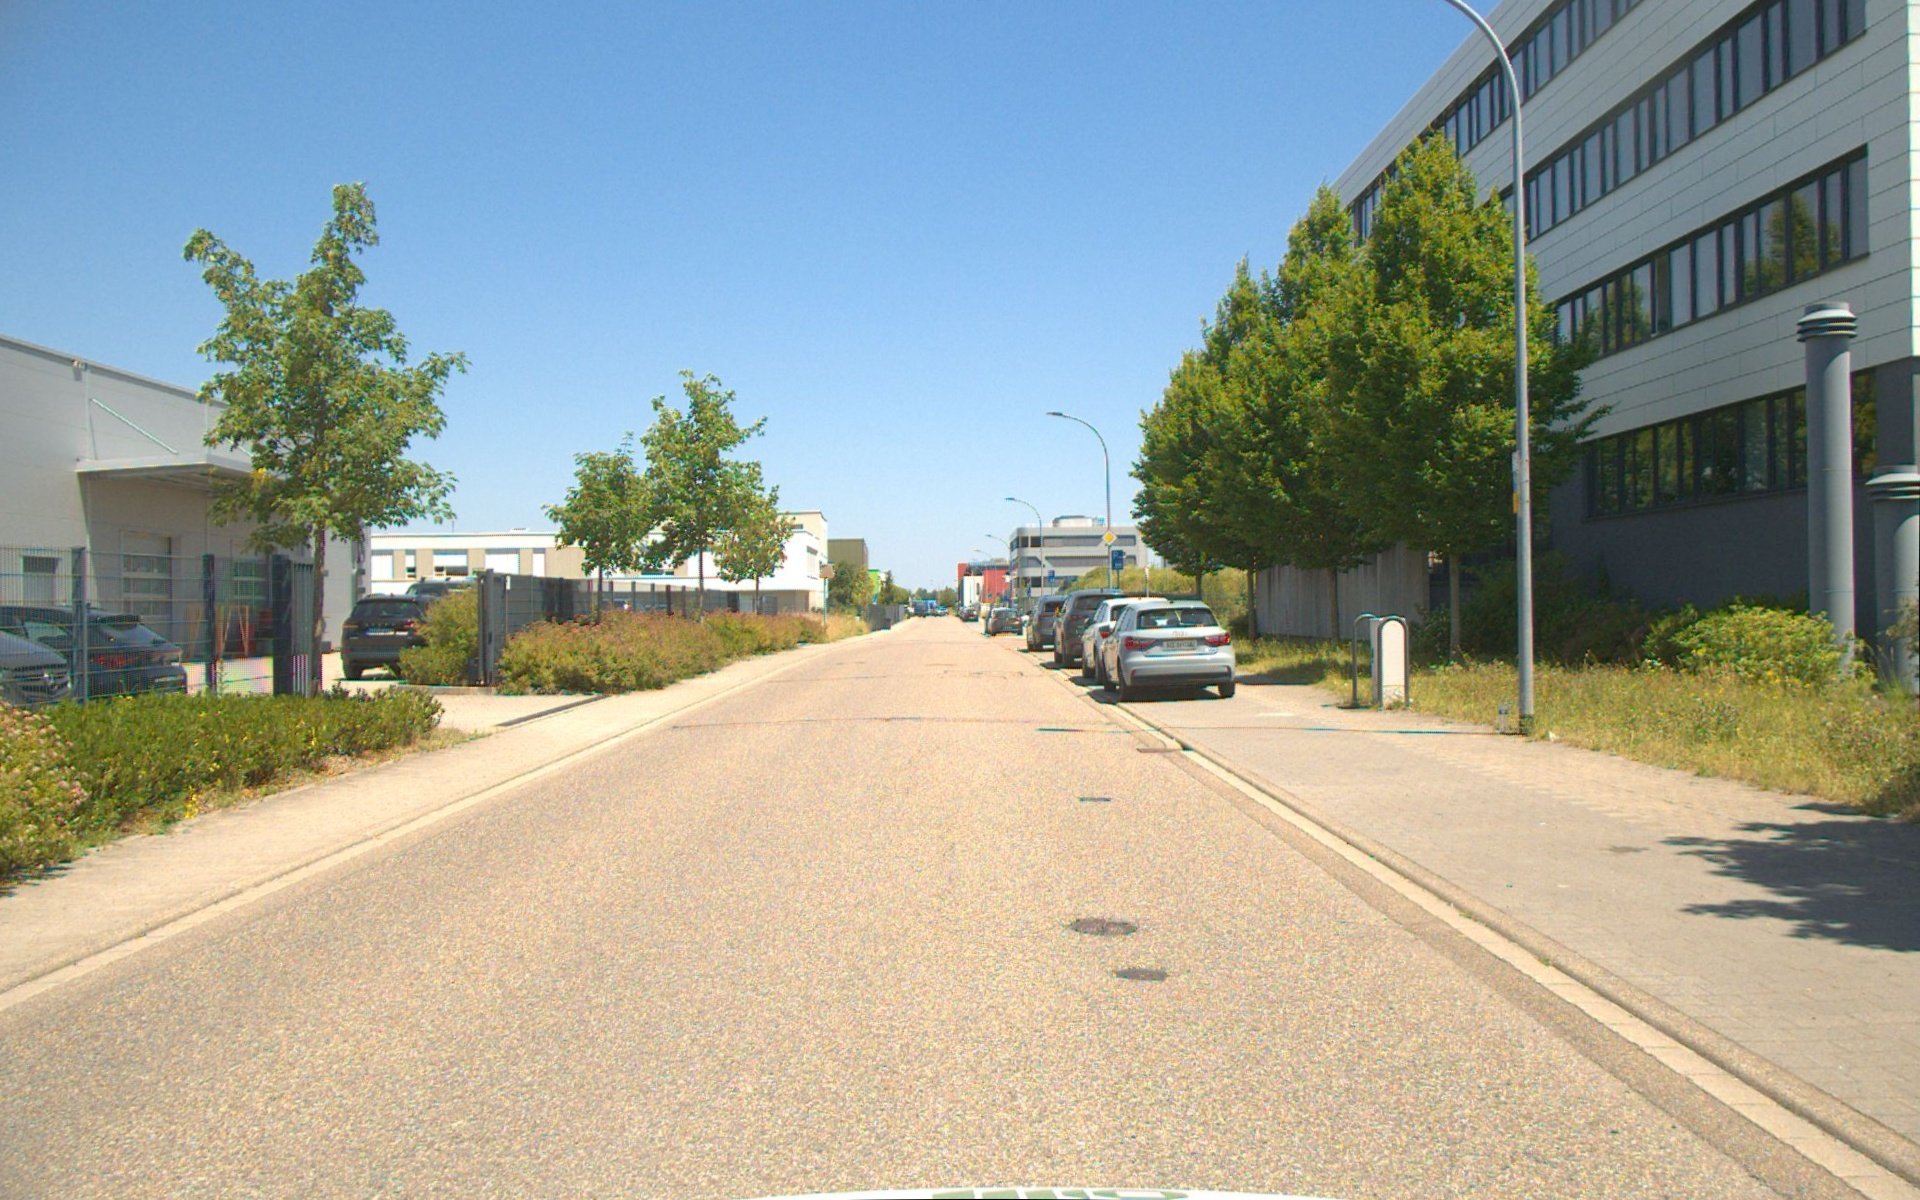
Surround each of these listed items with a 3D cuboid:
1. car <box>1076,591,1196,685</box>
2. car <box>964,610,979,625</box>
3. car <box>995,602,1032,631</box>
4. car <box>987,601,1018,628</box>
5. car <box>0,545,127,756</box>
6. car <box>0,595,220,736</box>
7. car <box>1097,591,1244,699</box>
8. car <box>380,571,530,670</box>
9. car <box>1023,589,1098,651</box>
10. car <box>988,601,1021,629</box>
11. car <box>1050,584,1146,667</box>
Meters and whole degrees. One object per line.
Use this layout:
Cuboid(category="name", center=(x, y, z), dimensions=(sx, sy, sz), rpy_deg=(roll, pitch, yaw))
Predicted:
Cuboid(category="car", center=(3.137, 0.636, 30.116), dimensions=(1.681, 1.507, 4.031), rpy_deg=(-3, 0, 0))
Cuboid(category="car", center=(1.418, 2.137, 200.632), dimensions=(1.740, 1.758, 3.999), rpy_deg=(1, 0, -1))
Cuboid(category="car", center=(2.909, 0.882, 89.776), dimensions=(1.868, 1.473, 4.001), rpy_deg=(-2, 0, 2))
Cuboid(category="car", center=(2.699, 0.907, 104.860), dimensions=(1.868, 1.573, 4.001), rpy_deg=(-2, 0, 2))
Cuboid(category="car", center=(-10.897, 0.450, 15.683), dimensions=(4.956, 1.883, 1.964), rpy_deg=(0, 0, -2))
Cuboid(category="car", center=(-10.688, 0.681, 18.168), dimensions=(4.217, 1.471, 1.964), rpy_deg=(0, 0, -2))
Cuboid(category="car", center=(3.165, 0.644, 25.532), dimensions=(1.681, 1.448, 3.951), rpy_deg=(-3, 0, 0))
Cuboid(category="car", center=(-11.707, 0.463, 38.676), dimensions=(1.959, 2.135, 4.694), rpy_deg=(1, 0, 1))
Cuboid(category="car", center=(2.999, 0.578, 50.178), dimensions=(1.767, 1.691, 4.606), rpy_deg=(-3, 0, -2))
Cuboid(category="car", center=(2.700, 0.908, 98.689), dimensions=(1.868, 1.573, 4.001), rpy_deg=(-2, 0, 2))
Cuboid(category="car", center=(3.047, 0.533, 37.315), dimensions=(1.722, 1.692, 4.362), rpy_deg=(-2, 0, 0))
